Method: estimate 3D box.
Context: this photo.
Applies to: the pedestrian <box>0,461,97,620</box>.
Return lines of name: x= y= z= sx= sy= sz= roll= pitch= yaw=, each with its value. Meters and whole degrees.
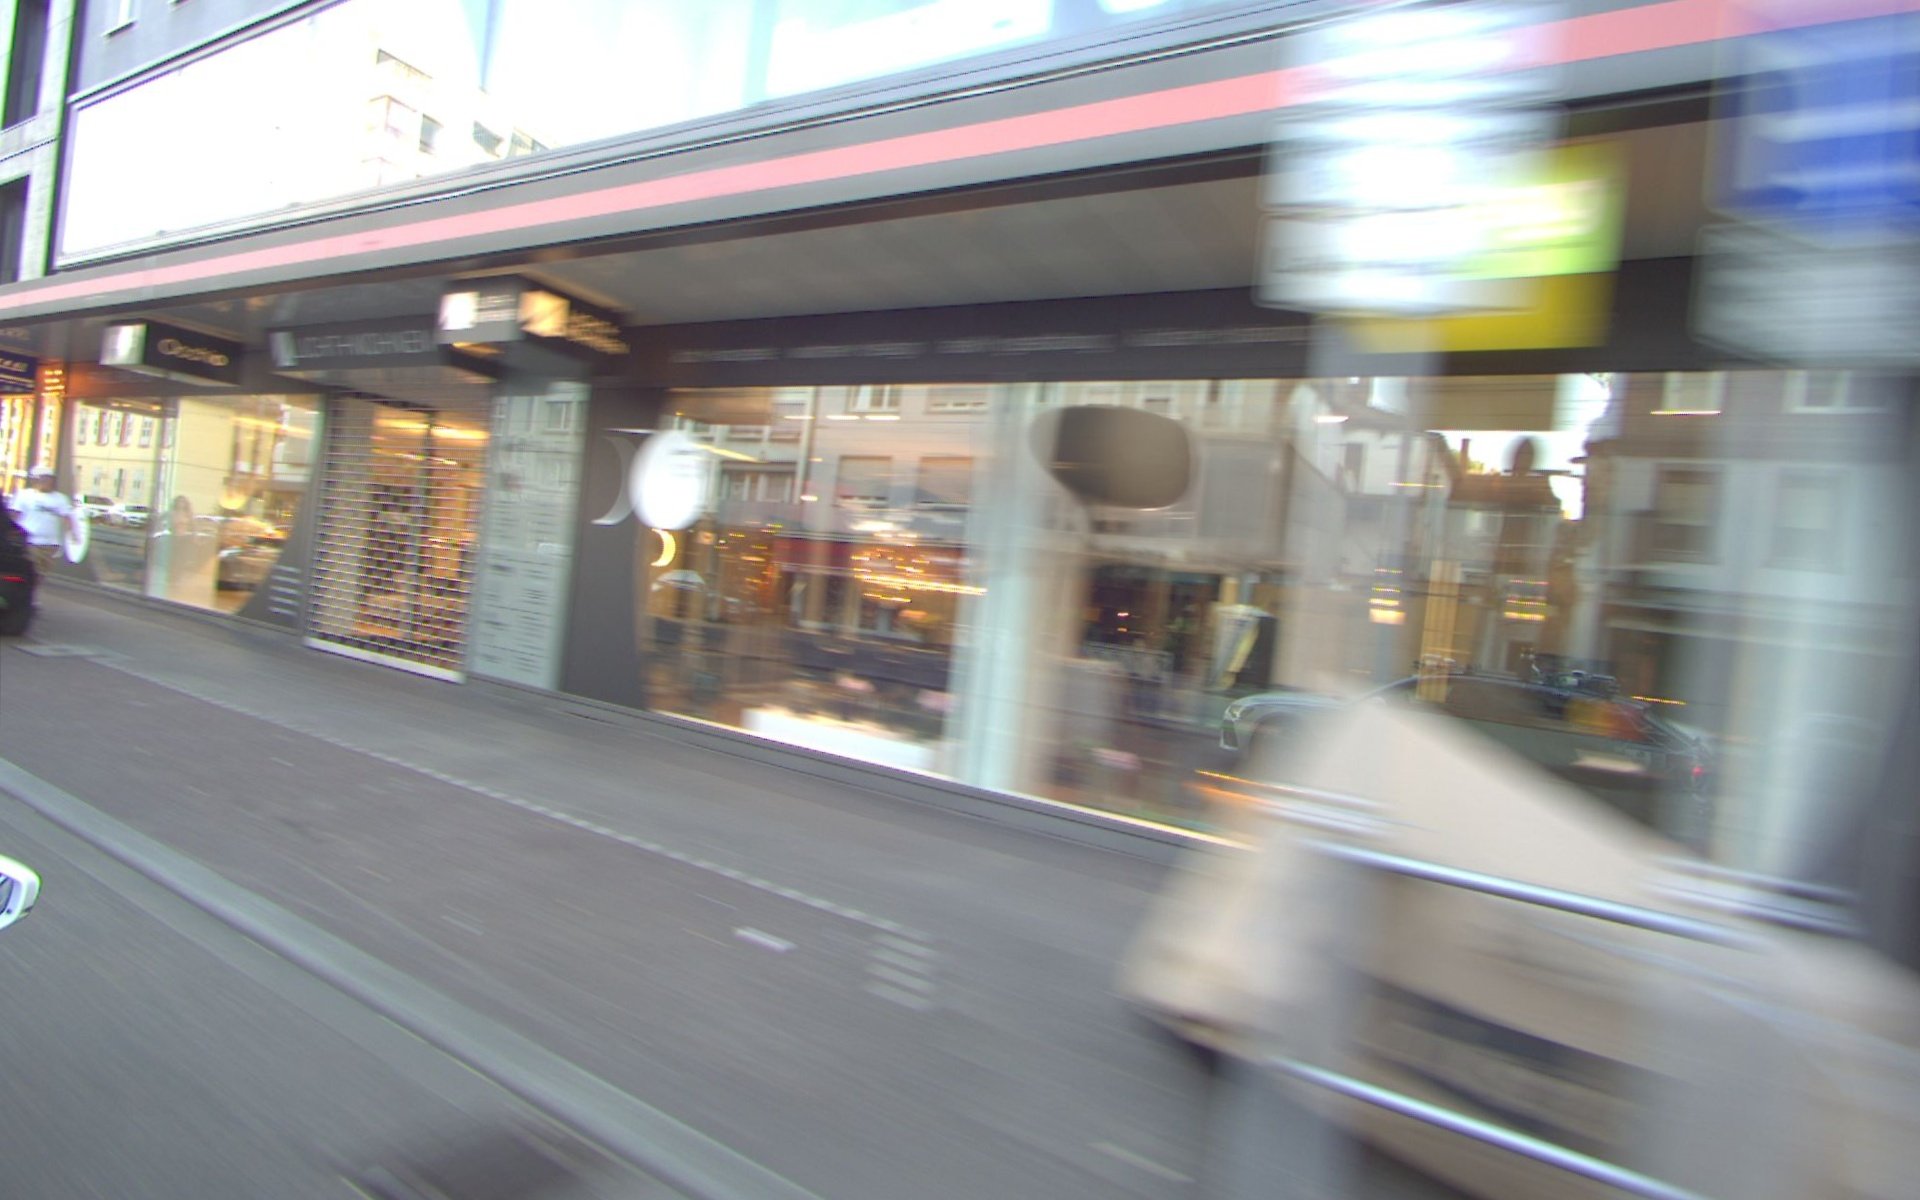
pedestrian: x=-10.789 y=-0.689 z=11.834 sx=0.807 sy=1.763 sz=0.689 roll=7 pitch=2 yaw=33

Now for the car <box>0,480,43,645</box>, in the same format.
car: x=-10.945 y=-0.571 z=9.995 sx=3.821 sy=1.557 sz=1.656 roll=7 pitch=1 yaw=31

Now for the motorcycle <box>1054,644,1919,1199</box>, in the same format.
motorcycle: x=1.454 y=0.960 z=2.685 sx=2.129 sy=1.438 sz=0.844 roll=7 pitch=3 yaw=32
